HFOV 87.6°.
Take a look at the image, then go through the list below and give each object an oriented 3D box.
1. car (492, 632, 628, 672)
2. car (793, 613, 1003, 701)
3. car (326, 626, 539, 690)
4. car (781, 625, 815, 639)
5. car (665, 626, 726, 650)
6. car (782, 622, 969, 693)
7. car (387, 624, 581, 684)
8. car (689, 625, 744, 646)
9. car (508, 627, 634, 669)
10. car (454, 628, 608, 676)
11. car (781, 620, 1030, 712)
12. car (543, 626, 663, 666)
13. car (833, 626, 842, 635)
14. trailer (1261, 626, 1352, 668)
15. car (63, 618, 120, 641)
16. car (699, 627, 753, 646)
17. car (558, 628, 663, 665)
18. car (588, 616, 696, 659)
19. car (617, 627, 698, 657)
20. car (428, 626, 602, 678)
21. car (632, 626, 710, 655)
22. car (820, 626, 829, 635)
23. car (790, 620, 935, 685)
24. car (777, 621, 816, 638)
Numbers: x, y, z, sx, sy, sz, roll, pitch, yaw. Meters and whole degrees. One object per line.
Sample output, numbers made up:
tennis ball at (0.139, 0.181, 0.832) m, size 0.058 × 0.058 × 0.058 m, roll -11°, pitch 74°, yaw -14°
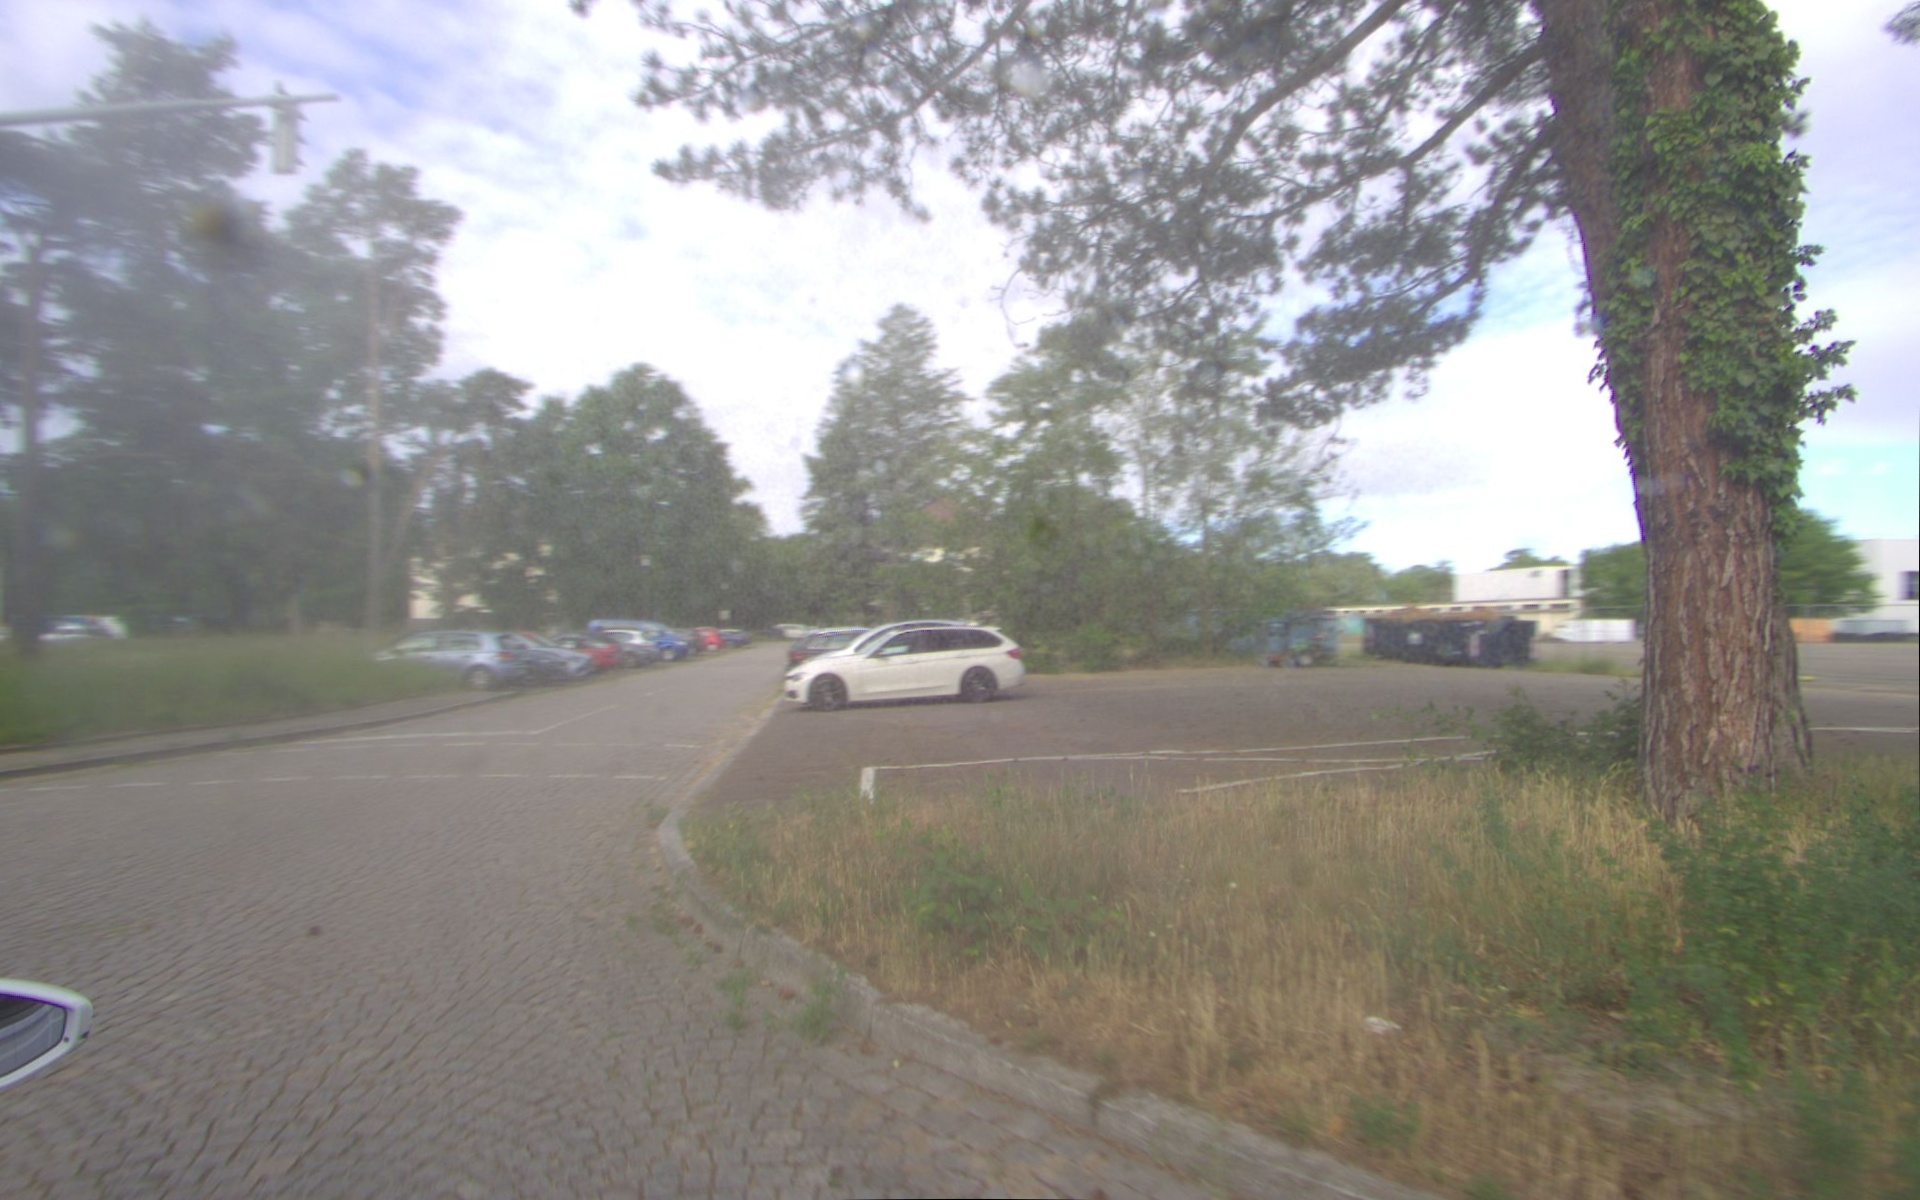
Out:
car at (-13.803, 1.796, 34.758) m, size 4.065 × 1.300 × 1.763 m, roll 1°, pitch -1°, yaw -7°
car at (-1.389, 1.199, 21.628) m, size 4.262 × 1.595 × 1.826 m, roll -2°, pitch -1°, yaw -12°
car at (-12.931, 1.425, 24.789) m, size 4.260 × 1.489 × 1.827 m, roll 1°, pitch -2°, yaw -6°
car at (-23.982, 4.763, 148.562) m, size 4.900 × 1.992 × 2.052 m, roll 1°, pitch -3°, yaw -8°
car at (-17.782, 2.557, 67.420) m, size 3.755 × 1.509 × 1.787 m, roll 1°, pitch -1°, yaw -8°
car at (-2.069, 1.346, 24.252) m, size 4.297 × 1.424 × 1.795 m, roll -2°, pitch 0°, yaw -8°
car at (-12.905, 1.470, 27.438) m, size 4.431 × 1.556 × 1.870 m, roll 1°, pitch -2°, yaw -10°
car at (-18.843, 2.741, 77.614) m, size 4.007 × 1.625 × 1.787 m, roll 1°, pitch -1°, yaw -8°
car at (-14.463, 1.766, 37.379) m, size 4.022 × 1.500 × 1.755 m, roll 1°, pitch -1°, yaw -6°
car at (-13.768, 1.667, 32.363) m, size 4.186 × 1.474 × 1.855 m, roll 1°, pitch -1°, yaw -7°
car at (-1.091, 1.212, 19.069) m, size 4.478 × 1.444 × 1.826 m, roll -2°, pitch -1°, yaw -10°
car at (-14.308, 1.838, 40.300) m, size 4.235 × 1.500 × 1.731 m, roll 1°, pitch -1°, yaw -5°
car at (-24.193, 6.045, 197.819) m, size 1.762 × 1.741 × 4.062 m, roll 0°, pitch -3°, yaw -8°
trailer at (10.236, 1.382, 29.658) m, size 2.276 × 1.185 × 1.144 m, roll 1°, pitch -2°, yaw -8°
car at (-84.045, 2.893, 96.966) m, size 2.029 × 2.121 × 4.347 m, roll -1°, pitch -3°, yaw -7°
car at (-19.207, 2.979, 82.298) m, size 4.005 × 1.486 × 1.626 m, roll 1°, pitch -1°, yaw -3°
car at (-14.986, 1.984, 43.103) m, size 3.941 × 1.521 × 1.843 m, roll 1°, pitch -1°, yaw -5°
car at (-15.292, 1.798, 48.404) m, size 4.635 × 2.006 × 2.038 m, roll 1°, pitch -1°, yaw -8°
car at (-15.369, 2.132, 51.012) m, size 3.734 × 1.512 × 1.725 m, roll 1°, pitch -1°, yaw -9°
car at (-13.261, 1.556, 30.100) m, size 4.366 × 1.473 × 1.950 m, roll 1°, pitch -2°, yaw -6°
car at (-16.475, 2.292, 57.192) m, size 4.004 × 1.595 × 1.954 m, roll 1°, pitch -1°, yaw -8°
car at (-26.719, 6.068, 197.192) m, size 1.762 × 1.656 × 4.062 m, roll 0°, pitch -3°, yaw -8°
car at (-2.656, 1.366, 26.901) m, size 3.713 × 1.499 × 1.742 m, roll -2°, pitch 0°, yaw -10°
car at (-21.433, 3.917, 131.339) m, size 4.900 × 2.098 × 2.052 m, roll 1°, pitch -3°, yaw -8°
